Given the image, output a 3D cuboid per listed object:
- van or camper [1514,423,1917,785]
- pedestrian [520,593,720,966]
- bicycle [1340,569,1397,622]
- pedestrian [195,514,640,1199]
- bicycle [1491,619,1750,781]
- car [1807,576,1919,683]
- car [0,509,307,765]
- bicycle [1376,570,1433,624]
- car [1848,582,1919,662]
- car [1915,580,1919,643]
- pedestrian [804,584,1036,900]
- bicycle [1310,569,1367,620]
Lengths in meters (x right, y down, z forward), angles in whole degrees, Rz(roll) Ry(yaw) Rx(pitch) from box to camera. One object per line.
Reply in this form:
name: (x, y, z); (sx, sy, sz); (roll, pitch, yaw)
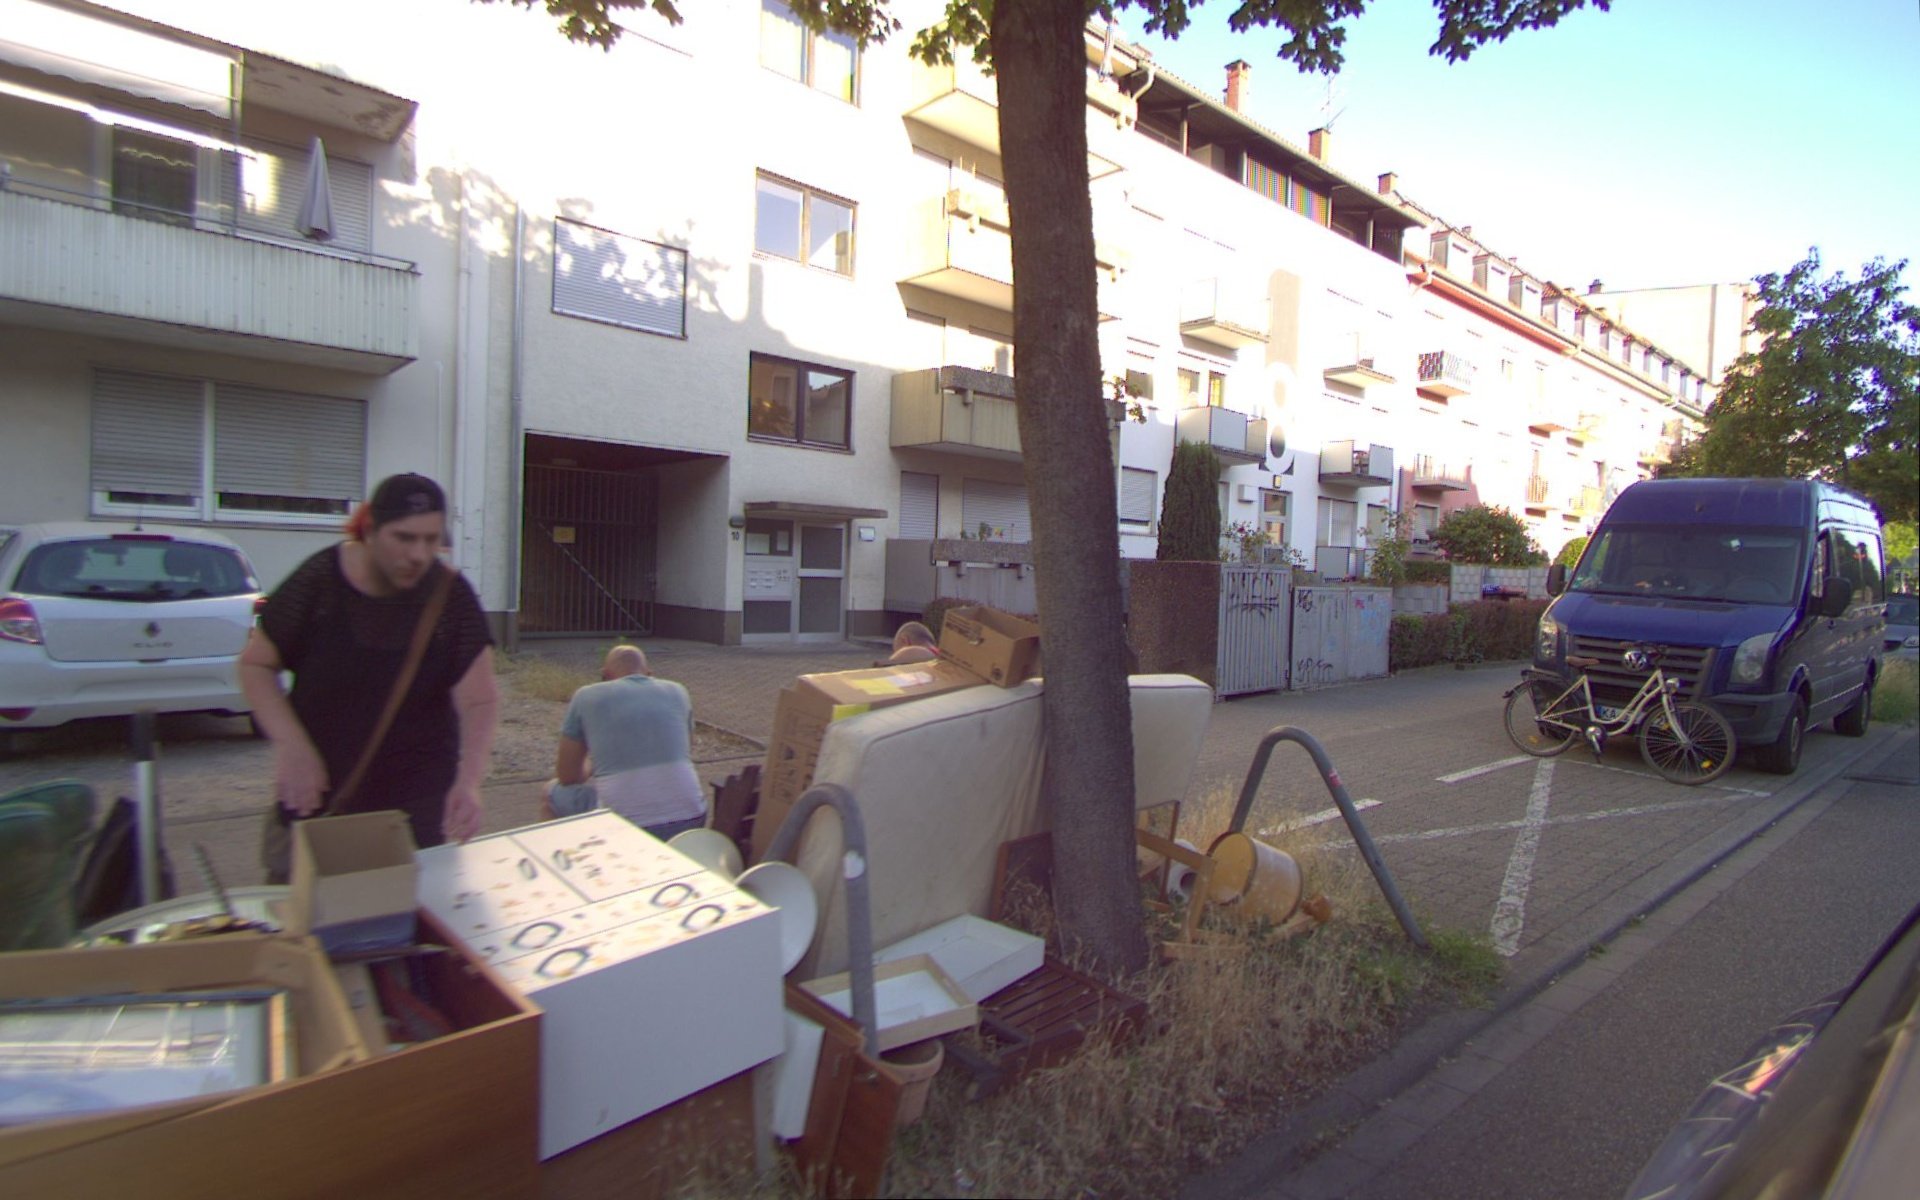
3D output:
van or camper: (7.916, -0.044, 10.301); (5.886, 2.708, 2.072); (-1, 3, -41)
pedestrian: (-1.291, 0.626, 3.892); (0.644, 1.270, 0.656); (1, 1, -17)
bicycle: (8.810, -0.093, 21.826); (1.518, 1.102, 0.493); (0, 2, -42)
pedestrian: (-1.366, 0.550, 2.518); (1.056, 1.494, 0.474); (2, 1, 30)
bicycle: (5.337, 0.757, 8.287); (0.397, 1.102, 1.706); (1, 2, -38)
car: (16.181, 0.435, 17.587); (3.694, 1.662, 1.775); (-1, 3, -43)
car: (-6.482, 0.132, 7.709); (1.794, 1.480, 3.991); (0, 2, -44)
bicycle: (9.402, -0.061, 21.366); (1.518, 1.102, 0.493); (0, 2, -42)
car: (19.864, 0.435, 20.933); (1.921, 1.505, 4.669); (3, 2, 45)
car: (27.609, 0.346, 27.697); (4.216, 1.671, 1.735); (0, 2, -42)
pedestrian: (-0.191, 0.576, 4.655); (0.689, 1.270, 0.798); (1, 2, -43)
bicycle: (8.399, -0.122, 22.432); (1.518, 1.102, 0.493); (0, 2, -42)
